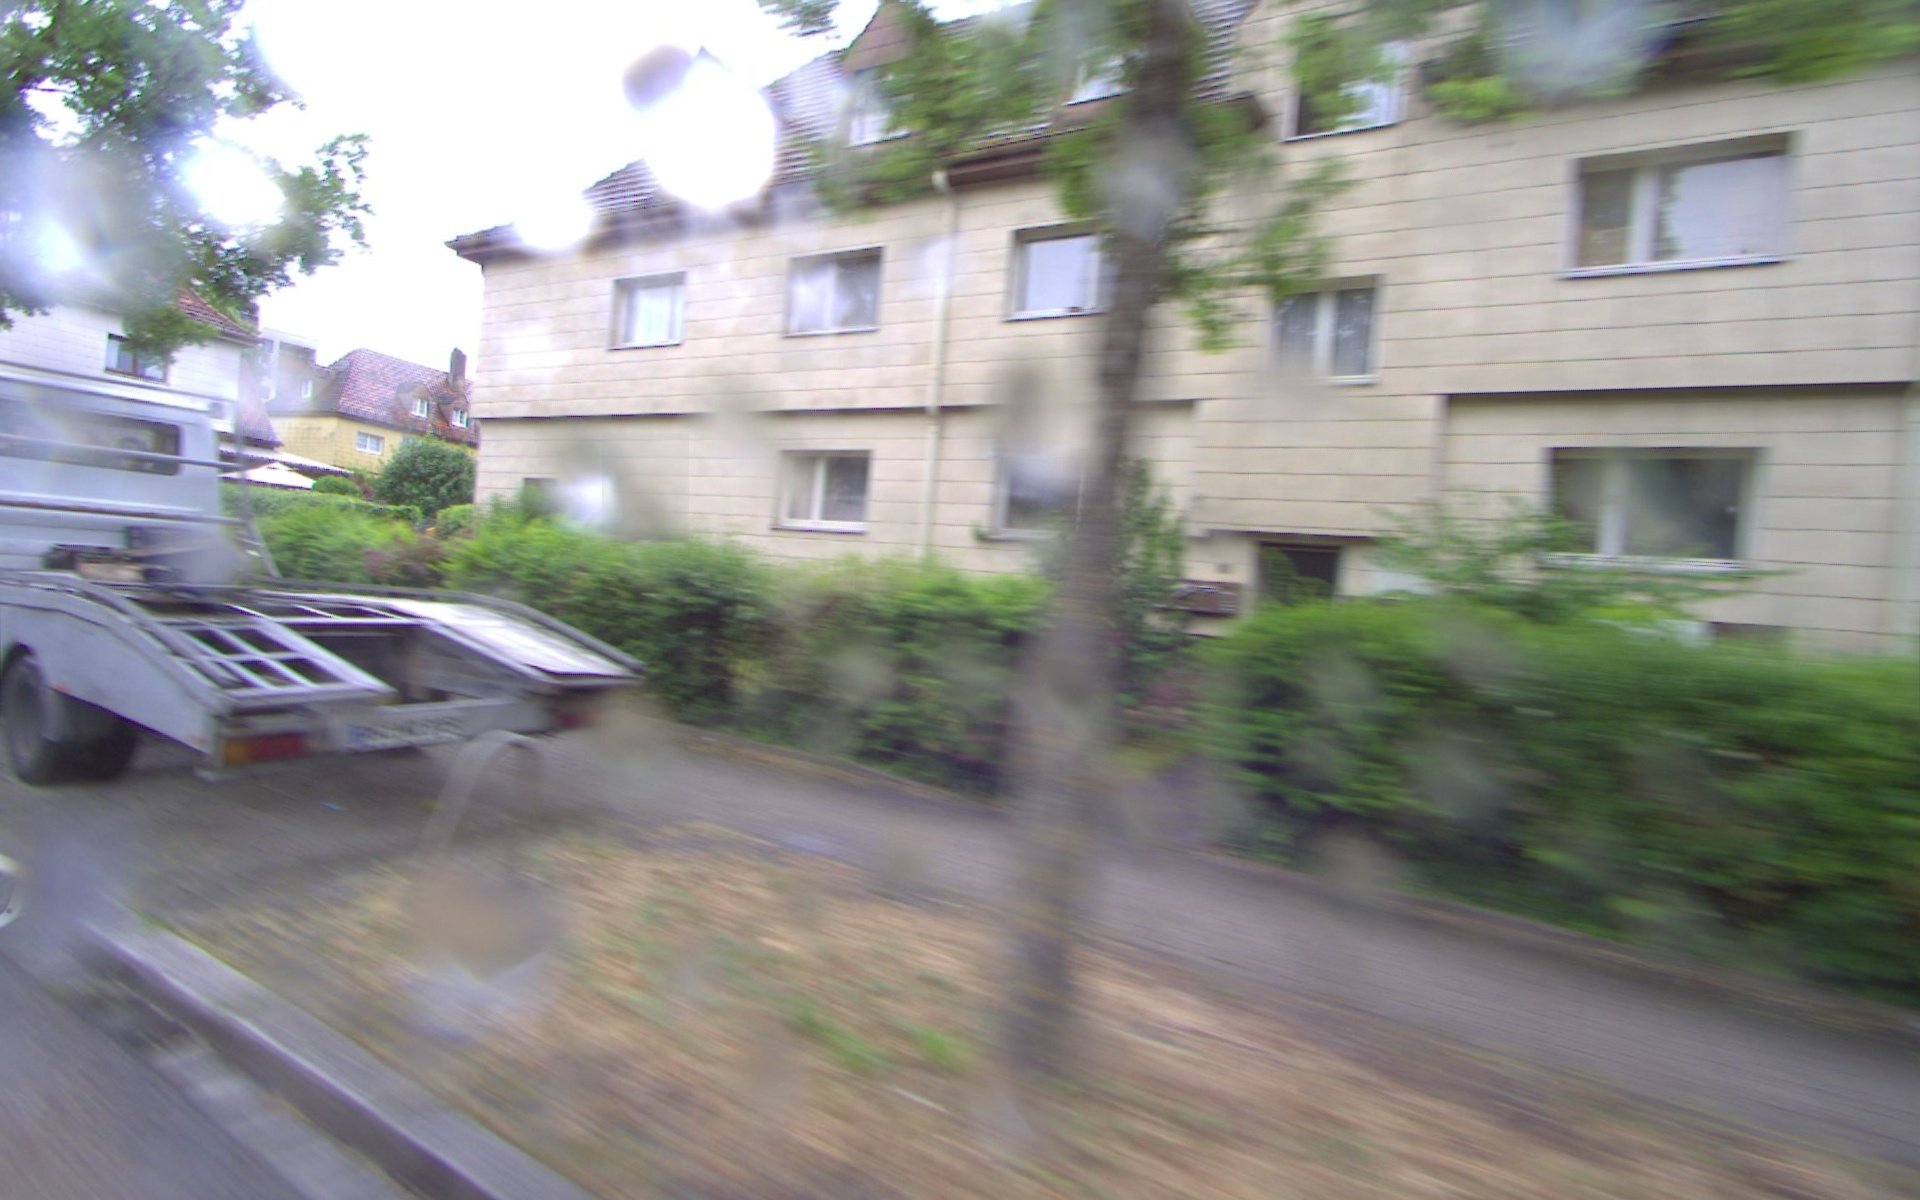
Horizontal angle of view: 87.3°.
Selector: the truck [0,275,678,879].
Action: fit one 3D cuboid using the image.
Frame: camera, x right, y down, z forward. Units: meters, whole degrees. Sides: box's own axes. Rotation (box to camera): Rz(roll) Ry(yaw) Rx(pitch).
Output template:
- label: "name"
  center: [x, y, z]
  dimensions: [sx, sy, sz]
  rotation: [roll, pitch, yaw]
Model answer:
- label: "truck"
  center: [-4.882, -0.380, 6.283]
  dimensions: [6.392, 2.252, 2.080]
  rotation: [7, 3, 31]
